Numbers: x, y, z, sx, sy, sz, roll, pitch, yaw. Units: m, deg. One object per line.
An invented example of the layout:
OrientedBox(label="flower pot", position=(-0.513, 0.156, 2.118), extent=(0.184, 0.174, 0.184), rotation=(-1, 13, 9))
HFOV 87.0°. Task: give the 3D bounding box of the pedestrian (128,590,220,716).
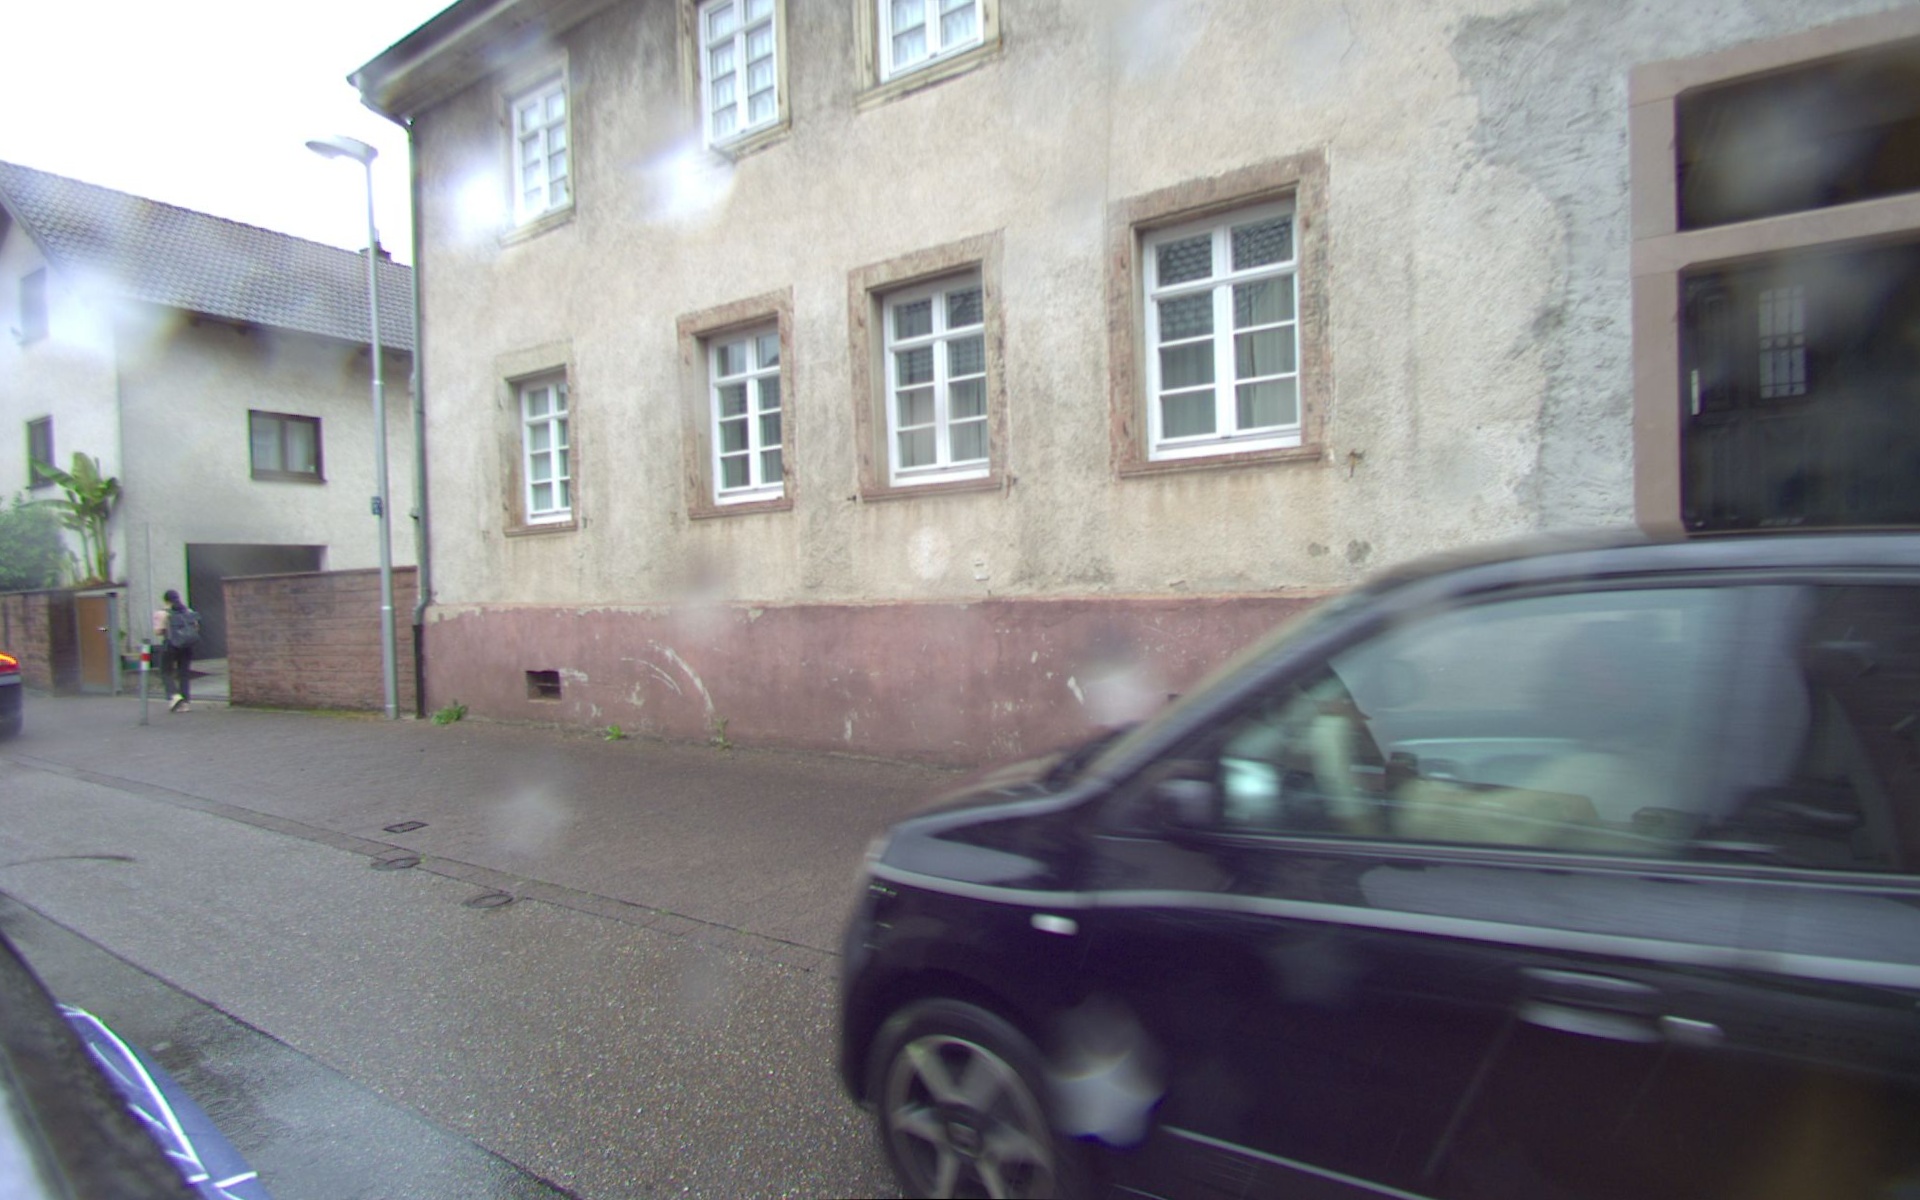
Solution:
OrientedBox(label="pedestrian", position=(-10.137, 0.670, 13.054), extent=(0.829, 1.549, 0.568), rotation=(-1, 2, 29))

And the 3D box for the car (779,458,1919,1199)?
OrientedBox(label="car", position=(1.552, 0.567, 1.916), extent=(3.680, 1.524, 1.590), rotation=(-1, 1, 35))

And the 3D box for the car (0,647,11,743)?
OrientedBox(label="car", position=(-12.497, 0.856, 11.367), extent=(4.330, 1.520, 1.683), rotation=(-1, 5, 34))
